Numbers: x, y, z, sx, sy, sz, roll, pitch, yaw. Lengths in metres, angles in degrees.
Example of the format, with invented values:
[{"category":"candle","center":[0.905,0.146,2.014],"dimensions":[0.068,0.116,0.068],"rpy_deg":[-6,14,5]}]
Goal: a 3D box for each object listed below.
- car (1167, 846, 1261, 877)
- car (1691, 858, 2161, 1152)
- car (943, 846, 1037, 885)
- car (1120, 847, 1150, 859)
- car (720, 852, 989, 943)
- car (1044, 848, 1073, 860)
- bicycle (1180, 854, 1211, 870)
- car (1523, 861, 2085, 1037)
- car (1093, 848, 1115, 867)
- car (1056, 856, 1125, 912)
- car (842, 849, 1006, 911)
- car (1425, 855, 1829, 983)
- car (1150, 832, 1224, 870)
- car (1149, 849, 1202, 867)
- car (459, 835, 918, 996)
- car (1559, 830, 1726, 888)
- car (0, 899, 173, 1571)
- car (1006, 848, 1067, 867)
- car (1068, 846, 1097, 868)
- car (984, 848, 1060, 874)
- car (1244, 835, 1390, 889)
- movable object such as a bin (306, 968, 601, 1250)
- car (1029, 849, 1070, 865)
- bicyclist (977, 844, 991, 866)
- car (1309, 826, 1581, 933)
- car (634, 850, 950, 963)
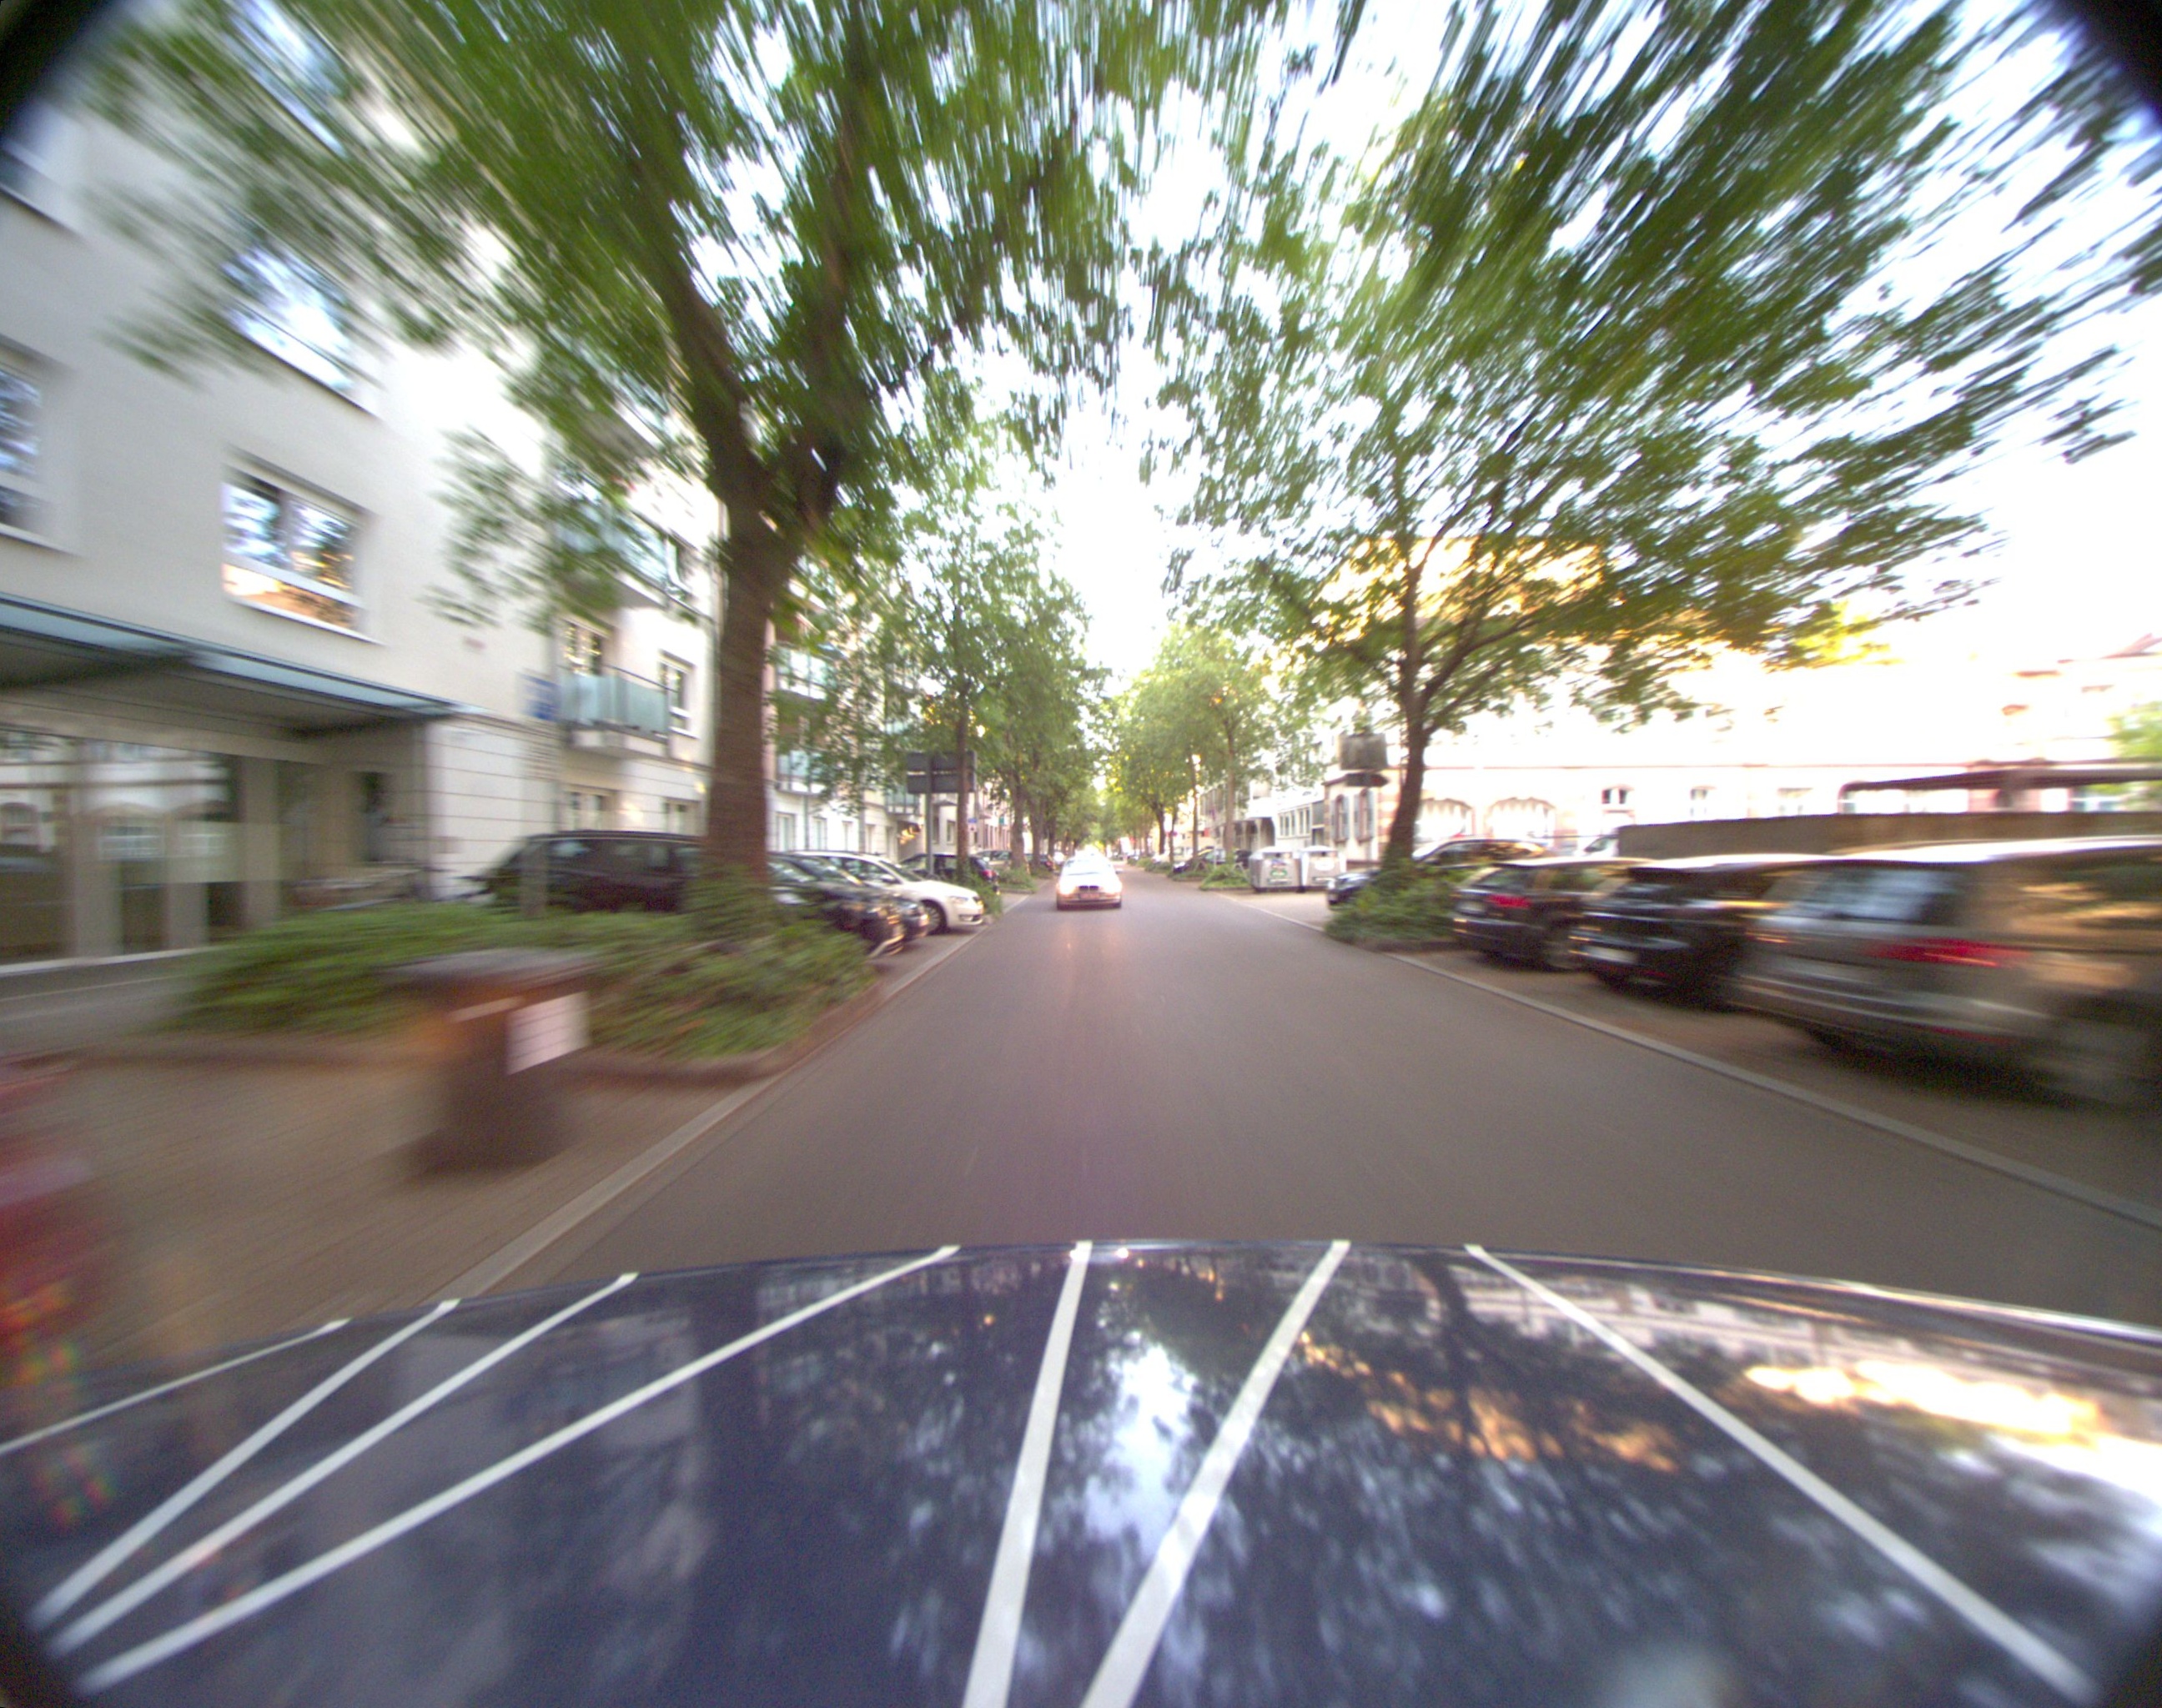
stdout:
[{"category":"car","center":[7.330,0.398,42.244],"dimensions":[4.864,1.612,2.160],"rpy_deg":[-1,1,2]},{"category":"car","center":[6.853,0.836,5.018],"dimensions":[3.995,1.556,1.930],"rpy_deg":[-1,1,6]},{"category":"car","center":[-4.105,0.506,34.790],"dimensions":[3.979,1.576,1.916],"rpy_deg":[2,1,0]},{"category":"car","center":[8.438,-0.183,118.763],"dimensions":[4.601,1.725,2.142],"rpy_deg":[-1,1,6]},{"category":"car","center":[-4.212,0.790,14.655],"dimensions":[4.611,1.459,1.796],"rpy_deg":[2,1,0]},{"category":"car","center":[-2.926,0.000,98.626],"dimensions":[3.731,1.544,1.754],"rpy_deg":[-1,1,-2]},{"category":"bicycle","center":[6.050,0.438,40.138],"dimensions":[1.556,0.826,0.613],"rpy_deg":[-1,1,4]},{"category":"car","center":[6.993,0.847,7.682],"dimensions":[3.997,1.482,1.825],"rpy_deg":[-1,1,-1]},{"category":"car","center":[2.417,0.345,79.143],"dimensions":[1.998,1.838,4.001],"rpy_deg":[-2,0,5]},{"category":"car","center":[0.190,0.768,21.425],"dimensions":[1.737,1.363,4.331],"rpy_deg":[-1,0,-1]},{"category":"car","center":[-4.171,0.669,20.741],"dimensions":[4.095,1.443,1.934],"rpy_deg":[2,1,-4]},{"category":"car","center":[6.983,0.779,10.064],"dimensions":[3.997,1.455,1.922],"rpy_deg":[-1,1,-1]},{"category":"car","center":[7.577,-0.213,54.648],"dimensions":[5.016,2.558,2.121],"rpy_deg":[-1,1,1]},{"category":"car","center":[7.807,0.317,62.891],"dimensions":[4.178,1.460,1.953],"rpy_deg":[-1,1,2]},{"category":"car","center":[-4.598,0.696,9.549],"dimensions":[4.655,1.608,2.009],"rpy_deg":[3,1,-3]},{"category":"car","center":[18.458,0.132,25.318],"dimensions":[2.002,1.747,4.677],"rpy_deg":[-1,1,-2]},{"category":"car","center":[-4.409,0.933,1.127],"dimensions":[3.786,1.535,1.877],"rpy_deg":[-1,1,0]},{"category":"car","center":[-3.651,0.259,63.299],"dimensions":[4.851,1.440,2.042],"rpy_deg":[2,1,3]},{"category":"car","center":[0.138,0.192,59.583],"dimensions":[1.892,1.636,4.001],"rpy_deg":[-2,0,5]},{"category":"car","center":[-3.682,0.436,47.984],"dimensions":[4.468,1.419,2.012],"rpy_deg":[2,1,5]},{"category":"car","center":[8.244,0.260,26.792],"dimensions":[4.516,1.762,2.000],"rpy_deg":[-1,1,-1]},{"category":"movable object such as a bin","center":[-2.953,1.157,3.663],"dimensions":[0.762,1.078,0.785],"rpy_deg":[1,1,2]},{"category":"car","center":[-3.207,0.286,77.121],"dimensions":[4.093,1.482,1.797],"rpy_deg":[-1,1,-2]},{"category":"bicyclist","center":[-7.358,0.077,57.601],"dimensions":[0.973,1.595,1.136],"rpy_deg":[0,1,-2]},{"category":"car","center":[7.155,0.472,15.278],"dimensions":[4.516,1.944,2.000],"rpy_deg":[-1,1,-1]},{"category":"car","center":[-4.446,0.760,12.140],"dimensions":[4.233,1.430,1.930],"rpy_deg":[3,1,3]}]
